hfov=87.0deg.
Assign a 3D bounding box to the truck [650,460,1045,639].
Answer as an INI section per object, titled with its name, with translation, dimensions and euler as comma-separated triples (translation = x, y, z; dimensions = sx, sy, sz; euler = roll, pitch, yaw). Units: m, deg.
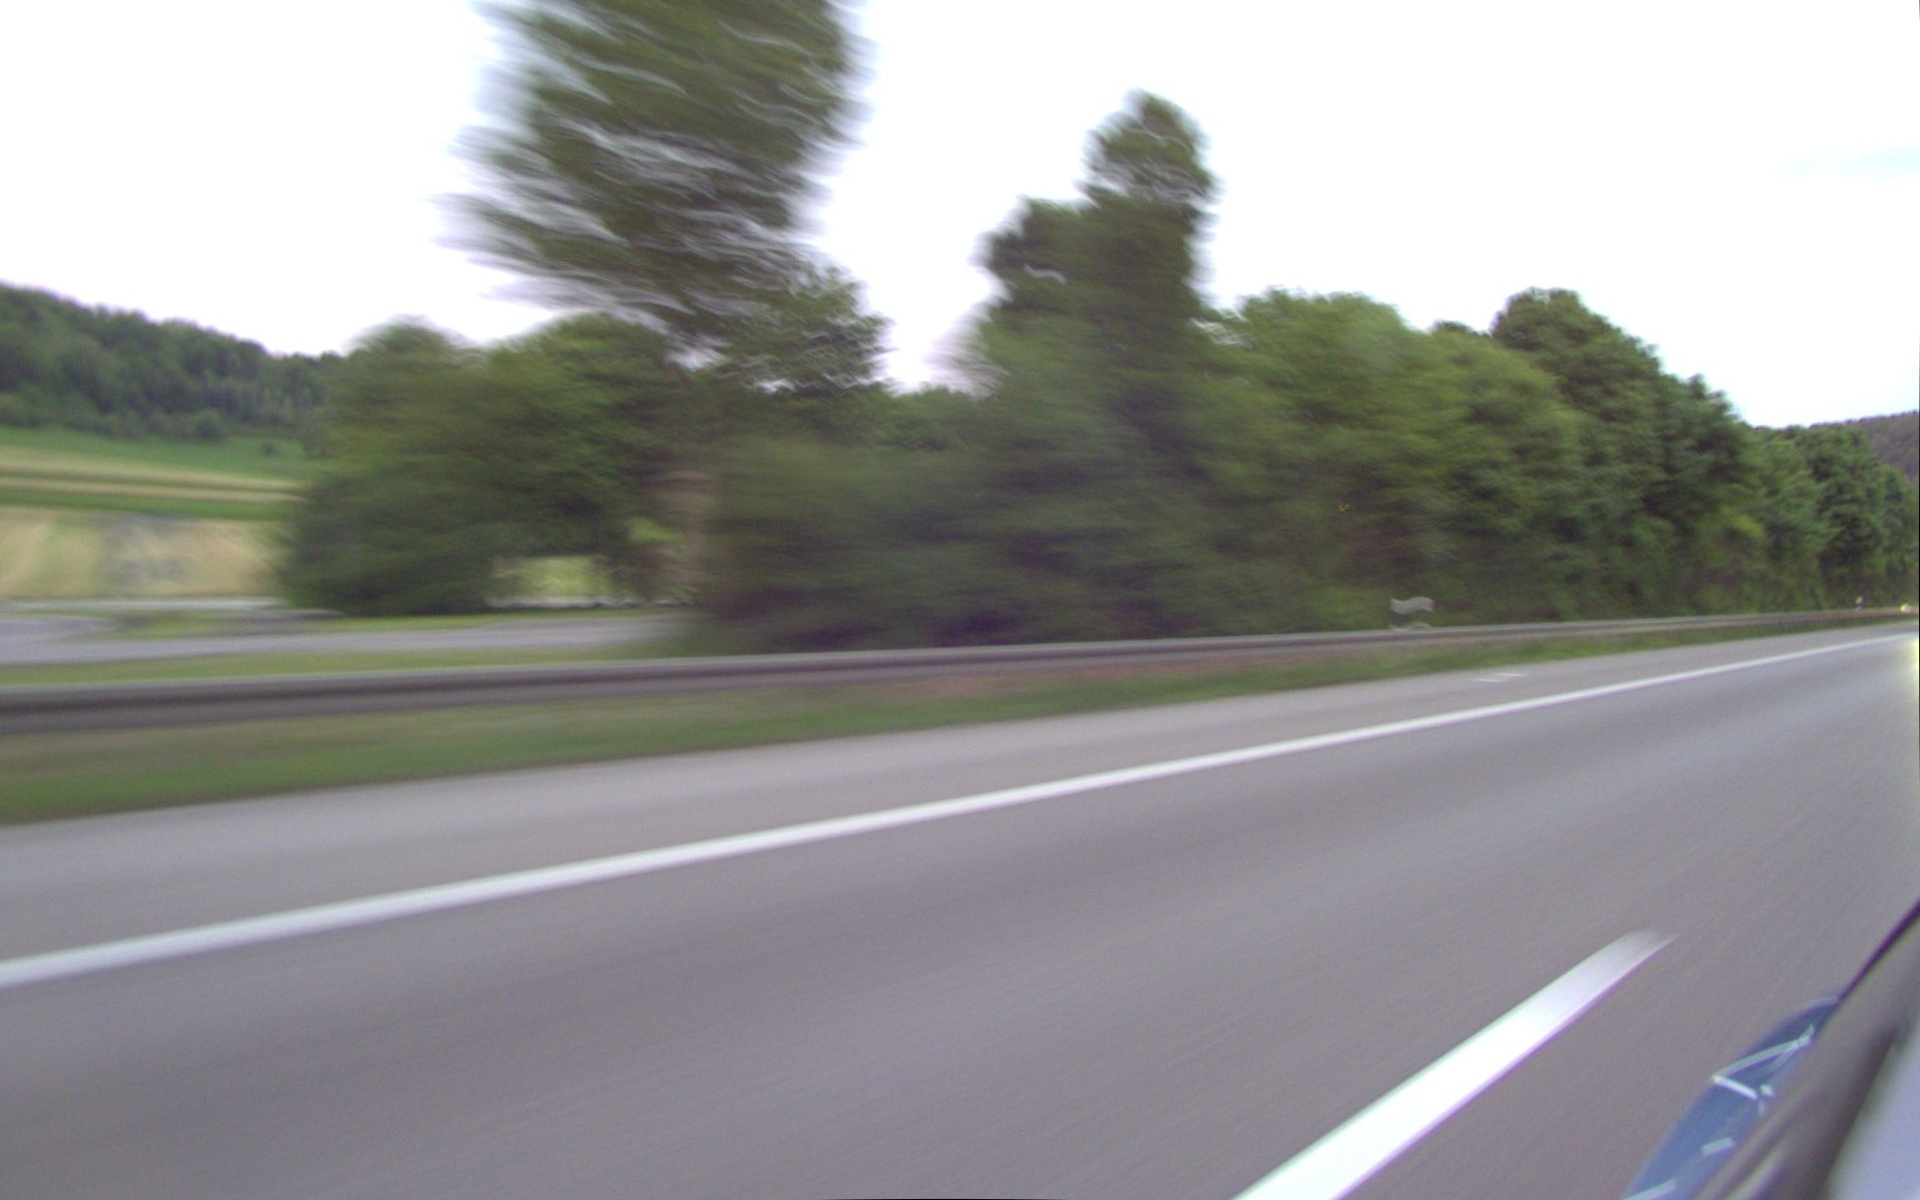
[truck]
translation = -2.438, -1.244, 27.799
dimensions = 2.838, 3.964, 11.804
euler = 2, 2, 43
